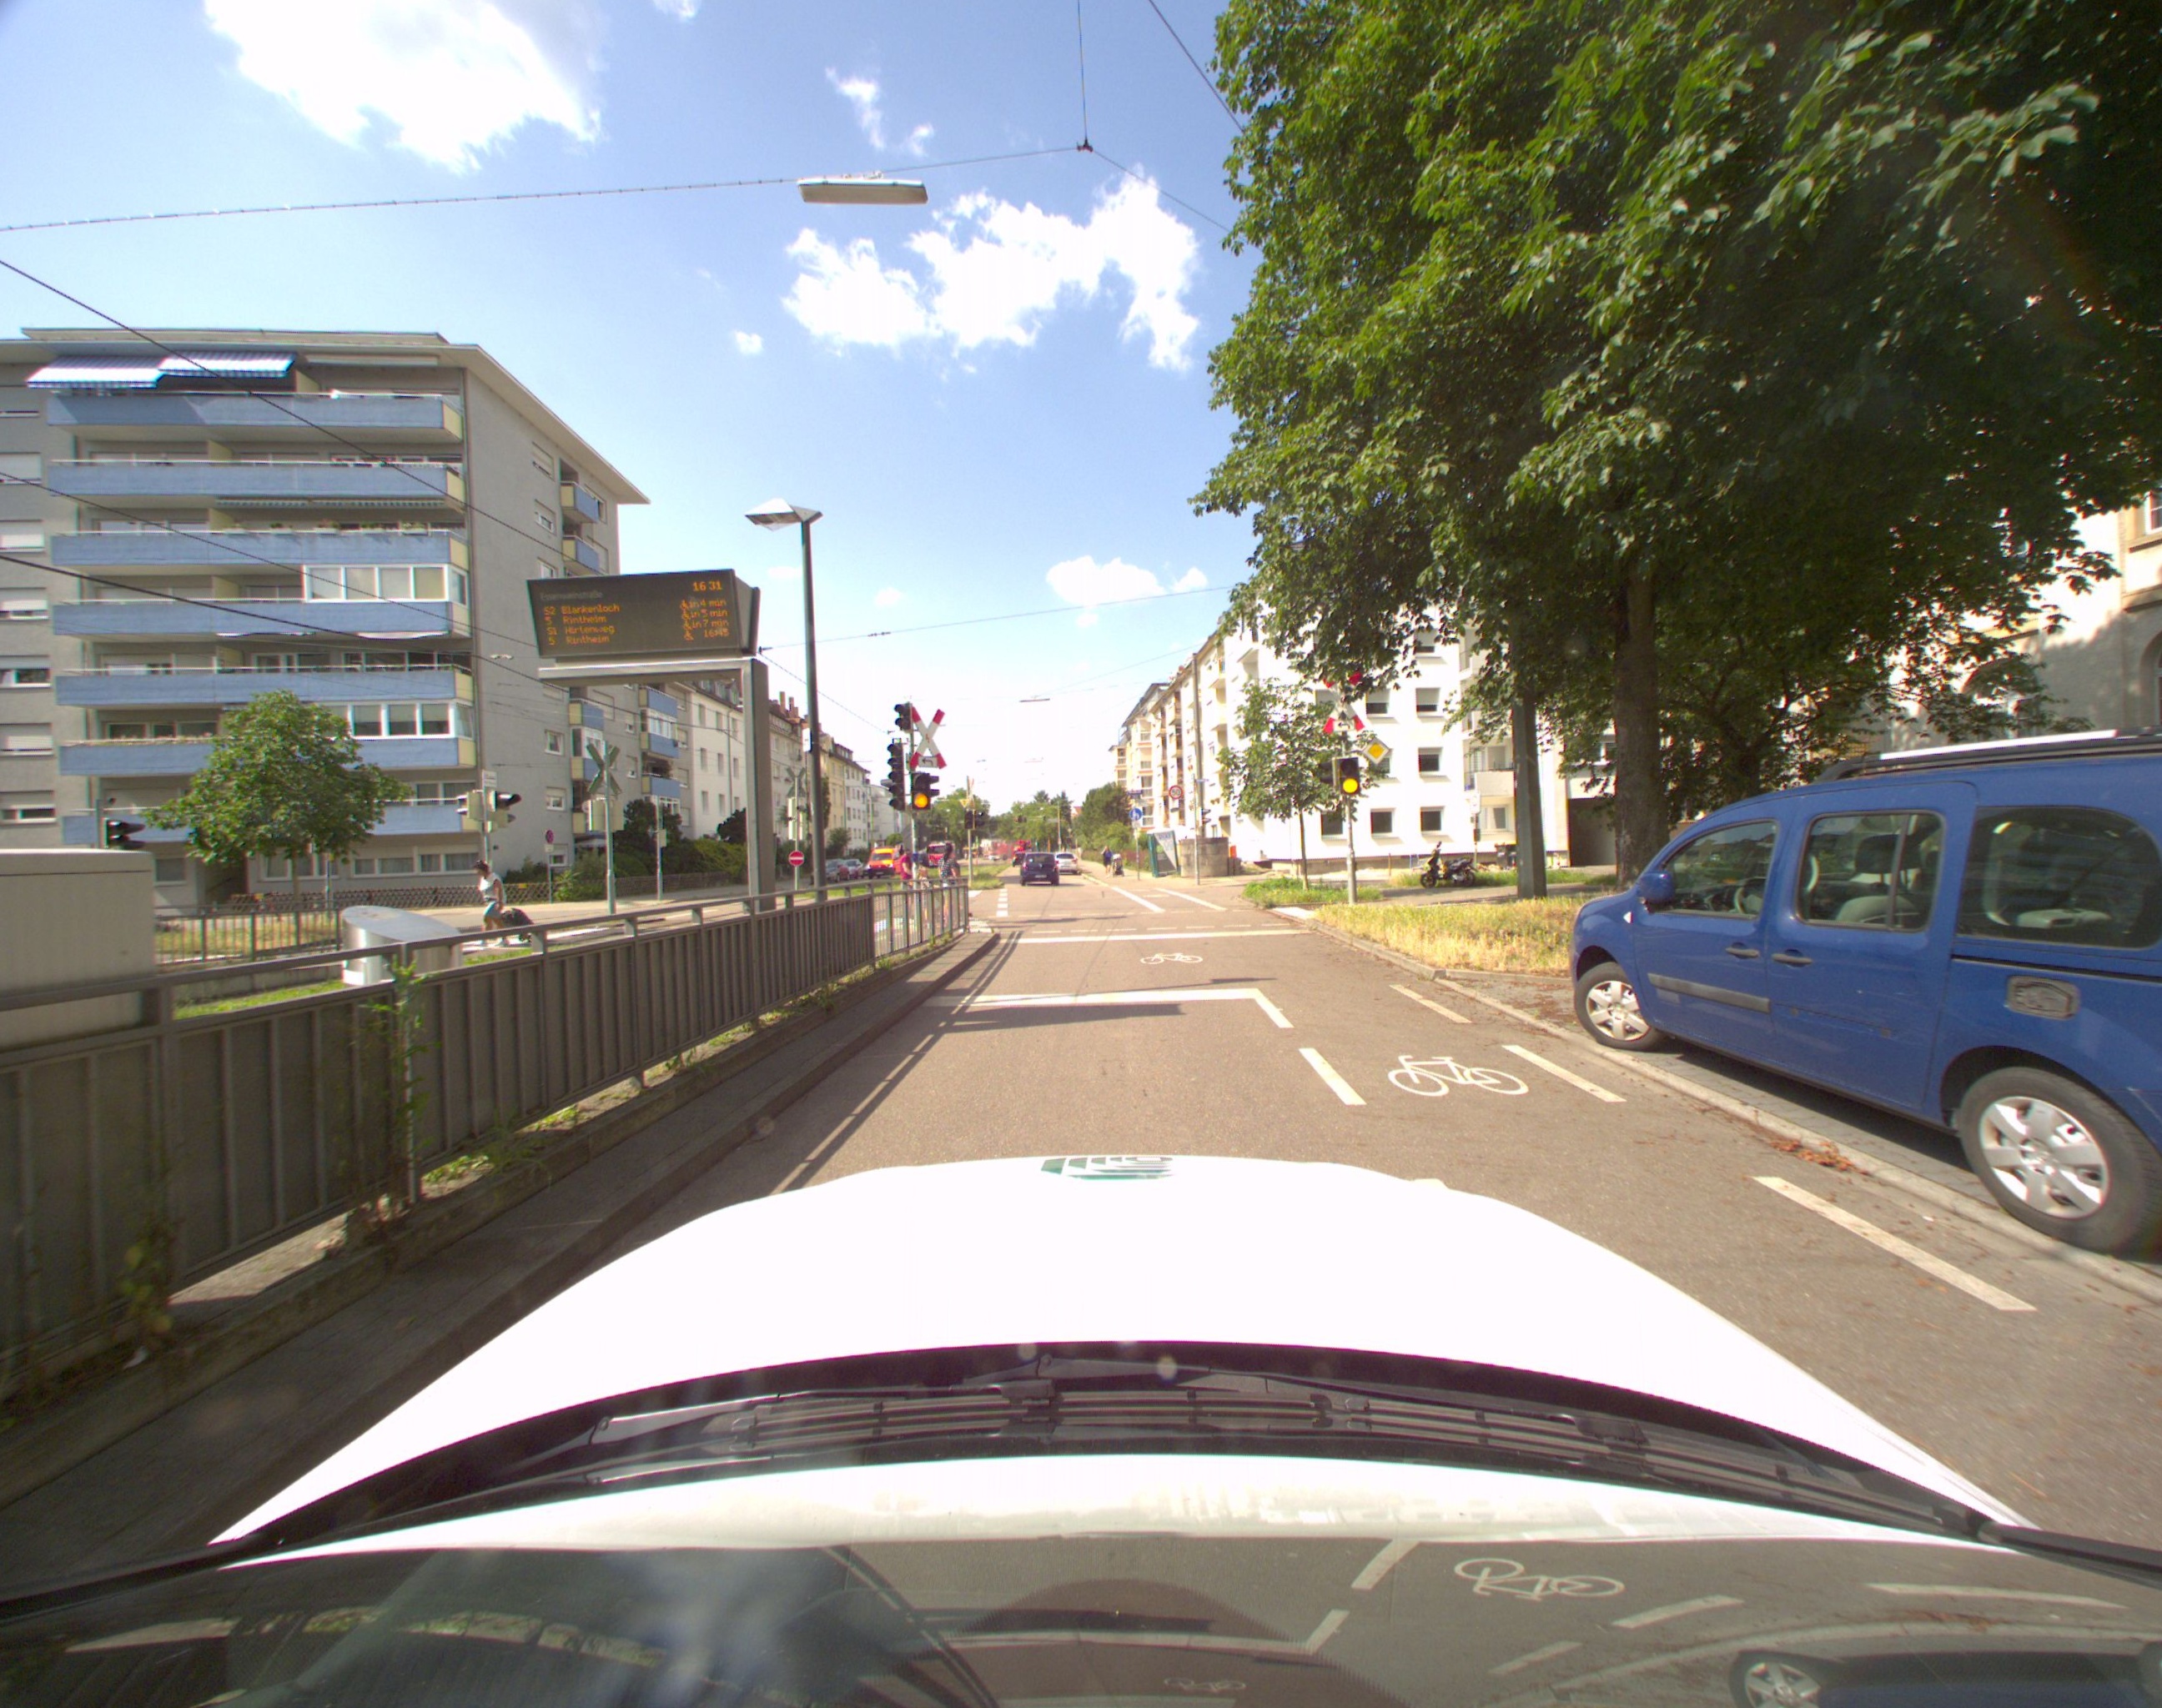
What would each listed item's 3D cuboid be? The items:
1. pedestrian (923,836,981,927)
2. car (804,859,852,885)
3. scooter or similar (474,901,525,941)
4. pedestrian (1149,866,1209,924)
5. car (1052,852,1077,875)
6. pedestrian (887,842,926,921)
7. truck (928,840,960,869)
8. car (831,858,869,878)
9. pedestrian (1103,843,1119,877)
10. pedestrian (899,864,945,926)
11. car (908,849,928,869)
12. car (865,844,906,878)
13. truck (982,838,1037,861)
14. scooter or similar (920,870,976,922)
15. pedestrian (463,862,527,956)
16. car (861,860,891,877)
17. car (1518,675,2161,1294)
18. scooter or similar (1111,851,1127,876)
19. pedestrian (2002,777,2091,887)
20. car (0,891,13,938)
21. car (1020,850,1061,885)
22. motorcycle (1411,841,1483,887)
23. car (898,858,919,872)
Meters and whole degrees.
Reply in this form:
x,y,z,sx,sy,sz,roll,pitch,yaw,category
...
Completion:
x,y,z,sx,sy,sz,roll,pitch,yaw,category
-2.487,0.515,15.695,0.849,1.667,0.792,-2,-1,-25,pedestrian
-16.935,1.186,54.726,1.988,1.645,3.998,-1,0,-1,car
-11.258,1.291,15.773,0.441,0.698,0.701,-2,0,1,scooter or similar
3.693,1.521,31.278,1.985,2.014,4.003,-1,0,3,pedestrian
-1.127,0.618,54.550,1.618,1.465,3.508,-1,0,-2,car
-3.719,0.582,17.367,0.703,1.648,0.636,0,-1,-2,pedestrian
-16.642,0.063,99.153,2.589,3.185,8.376,-2,0,-2,truck
-17.207,1.040,60.740,1.763,1.441,3.998,-1,0,-1,car
1.613,0.317,44.359,0.699,1.789,1.030,-5,0,0,pedestrian
-3.167,0.805,16.203,0.641,1.180,0.791,-2,-1,-30,pedestrian
-19.792,0.589,98.965,1.773,2.399,4.687,-1,0,-5,car
-14.278,0.490,59.710,1.989,2.275,4.829,-2,0,-2,car
-11.337,-0.740,130.540,2.641,3.470,10.232,-1,0,38,truck
-2.837,0.882,17.394,1.098,1.056,0.650,-1,0,-3,scooter or similar
-10.891,1.003,15.149,0.657,1.664,0.632,-2,0,1,pedestrian
-17.738,1.254,70.703,1.764,1.441,3.995,-1,0,-3,car
4.312,0.319,4.385,1.815,1.896,4.188,-4,1,4,car
2.010,0.497,43.436,0.660,1.303,0.868,-5,0,-1,scooter or similar
14.485,-0.319,12.233,0.629,1.596,0.540,-3,-1,-1,pedestrian
-40.955,2.208,28.682,3.974,1.684,2.000,-1,0,0,car
-1.817,0.605,37.456,1.739,1.507,3.998,-1,0,-1,car
10.656,0.309,23.763,0.574,1.215,1.828,-7,1,-32,motorcycle
-19.385,1.239,91.570,1.773,1.557,3.993,-1,0,-5,car
